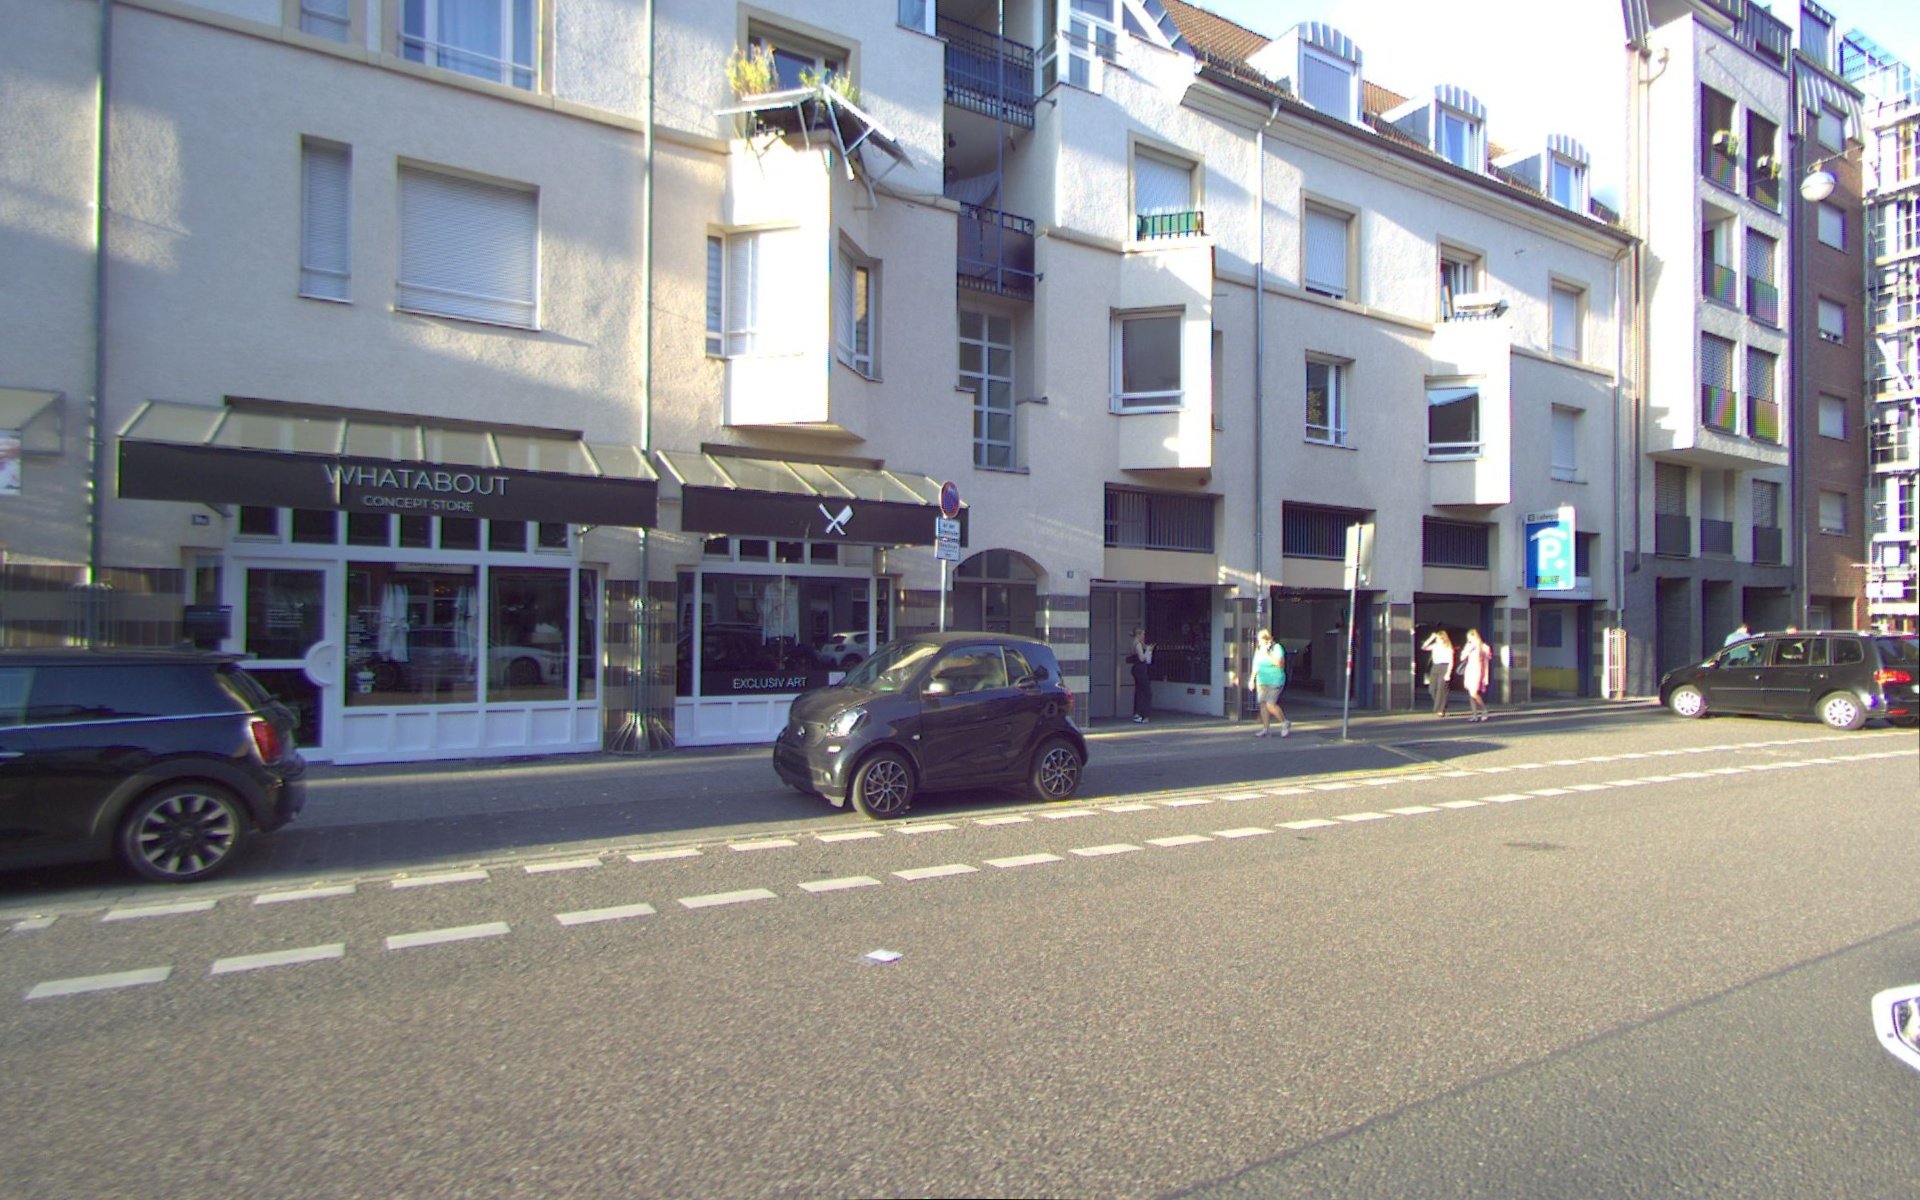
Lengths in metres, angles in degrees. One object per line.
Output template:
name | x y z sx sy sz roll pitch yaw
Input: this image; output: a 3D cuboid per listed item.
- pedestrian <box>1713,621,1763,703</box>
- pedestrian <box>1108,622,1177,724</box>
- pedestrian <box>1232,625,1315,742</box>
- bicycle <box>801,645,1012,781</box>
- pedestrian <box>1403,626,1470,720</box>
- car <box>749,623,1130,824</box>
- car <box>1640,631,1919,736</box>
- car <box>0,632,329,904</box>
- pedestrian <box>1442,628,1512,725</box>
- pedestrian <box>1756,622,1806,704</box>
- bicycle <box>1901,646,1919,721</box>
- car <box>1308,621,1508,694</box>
pedestrian | 17.465 1.374 22.539 0.688 1.790 0.711 2 0 -38
pedestrian | 3.053 1.197 16.796 0.844 1.637 0.714 2 0 -27
pedestrian | 4.679 1.225 14.997 0.941 1.663 0.712 2 0 -33
bicycle | -0.564 1.222 11.322 2.331 1.393 0.607 2 -1 -31
pedestrian | 8.798 1.333 18.545 0.844 1.663 0.714 2 0 -25
car | -0.171 1.021 9.515 3.155 1.555 1.781 1 -1 -33
car | 15.190 1.414 18.295 1.966 1.622 4.497 2 -1 -14
car | -6.162 0.966 6.234 3.681 1.473 1.703 2 -1 -30
pedestrian | 9.137 1.337 17.769 0.844 1.663 0.714 2 0 -25
pedestrian | 18.402 1.395 22.519 0.732 1.763 0.711 2 0 -38
bicycle | 19.551 1.633 19.917 3.139 1.414 0.886 2 -2 -39
car | 11.430 1.422 25.974 1.974 1.623 4.479 2 -1 -26
